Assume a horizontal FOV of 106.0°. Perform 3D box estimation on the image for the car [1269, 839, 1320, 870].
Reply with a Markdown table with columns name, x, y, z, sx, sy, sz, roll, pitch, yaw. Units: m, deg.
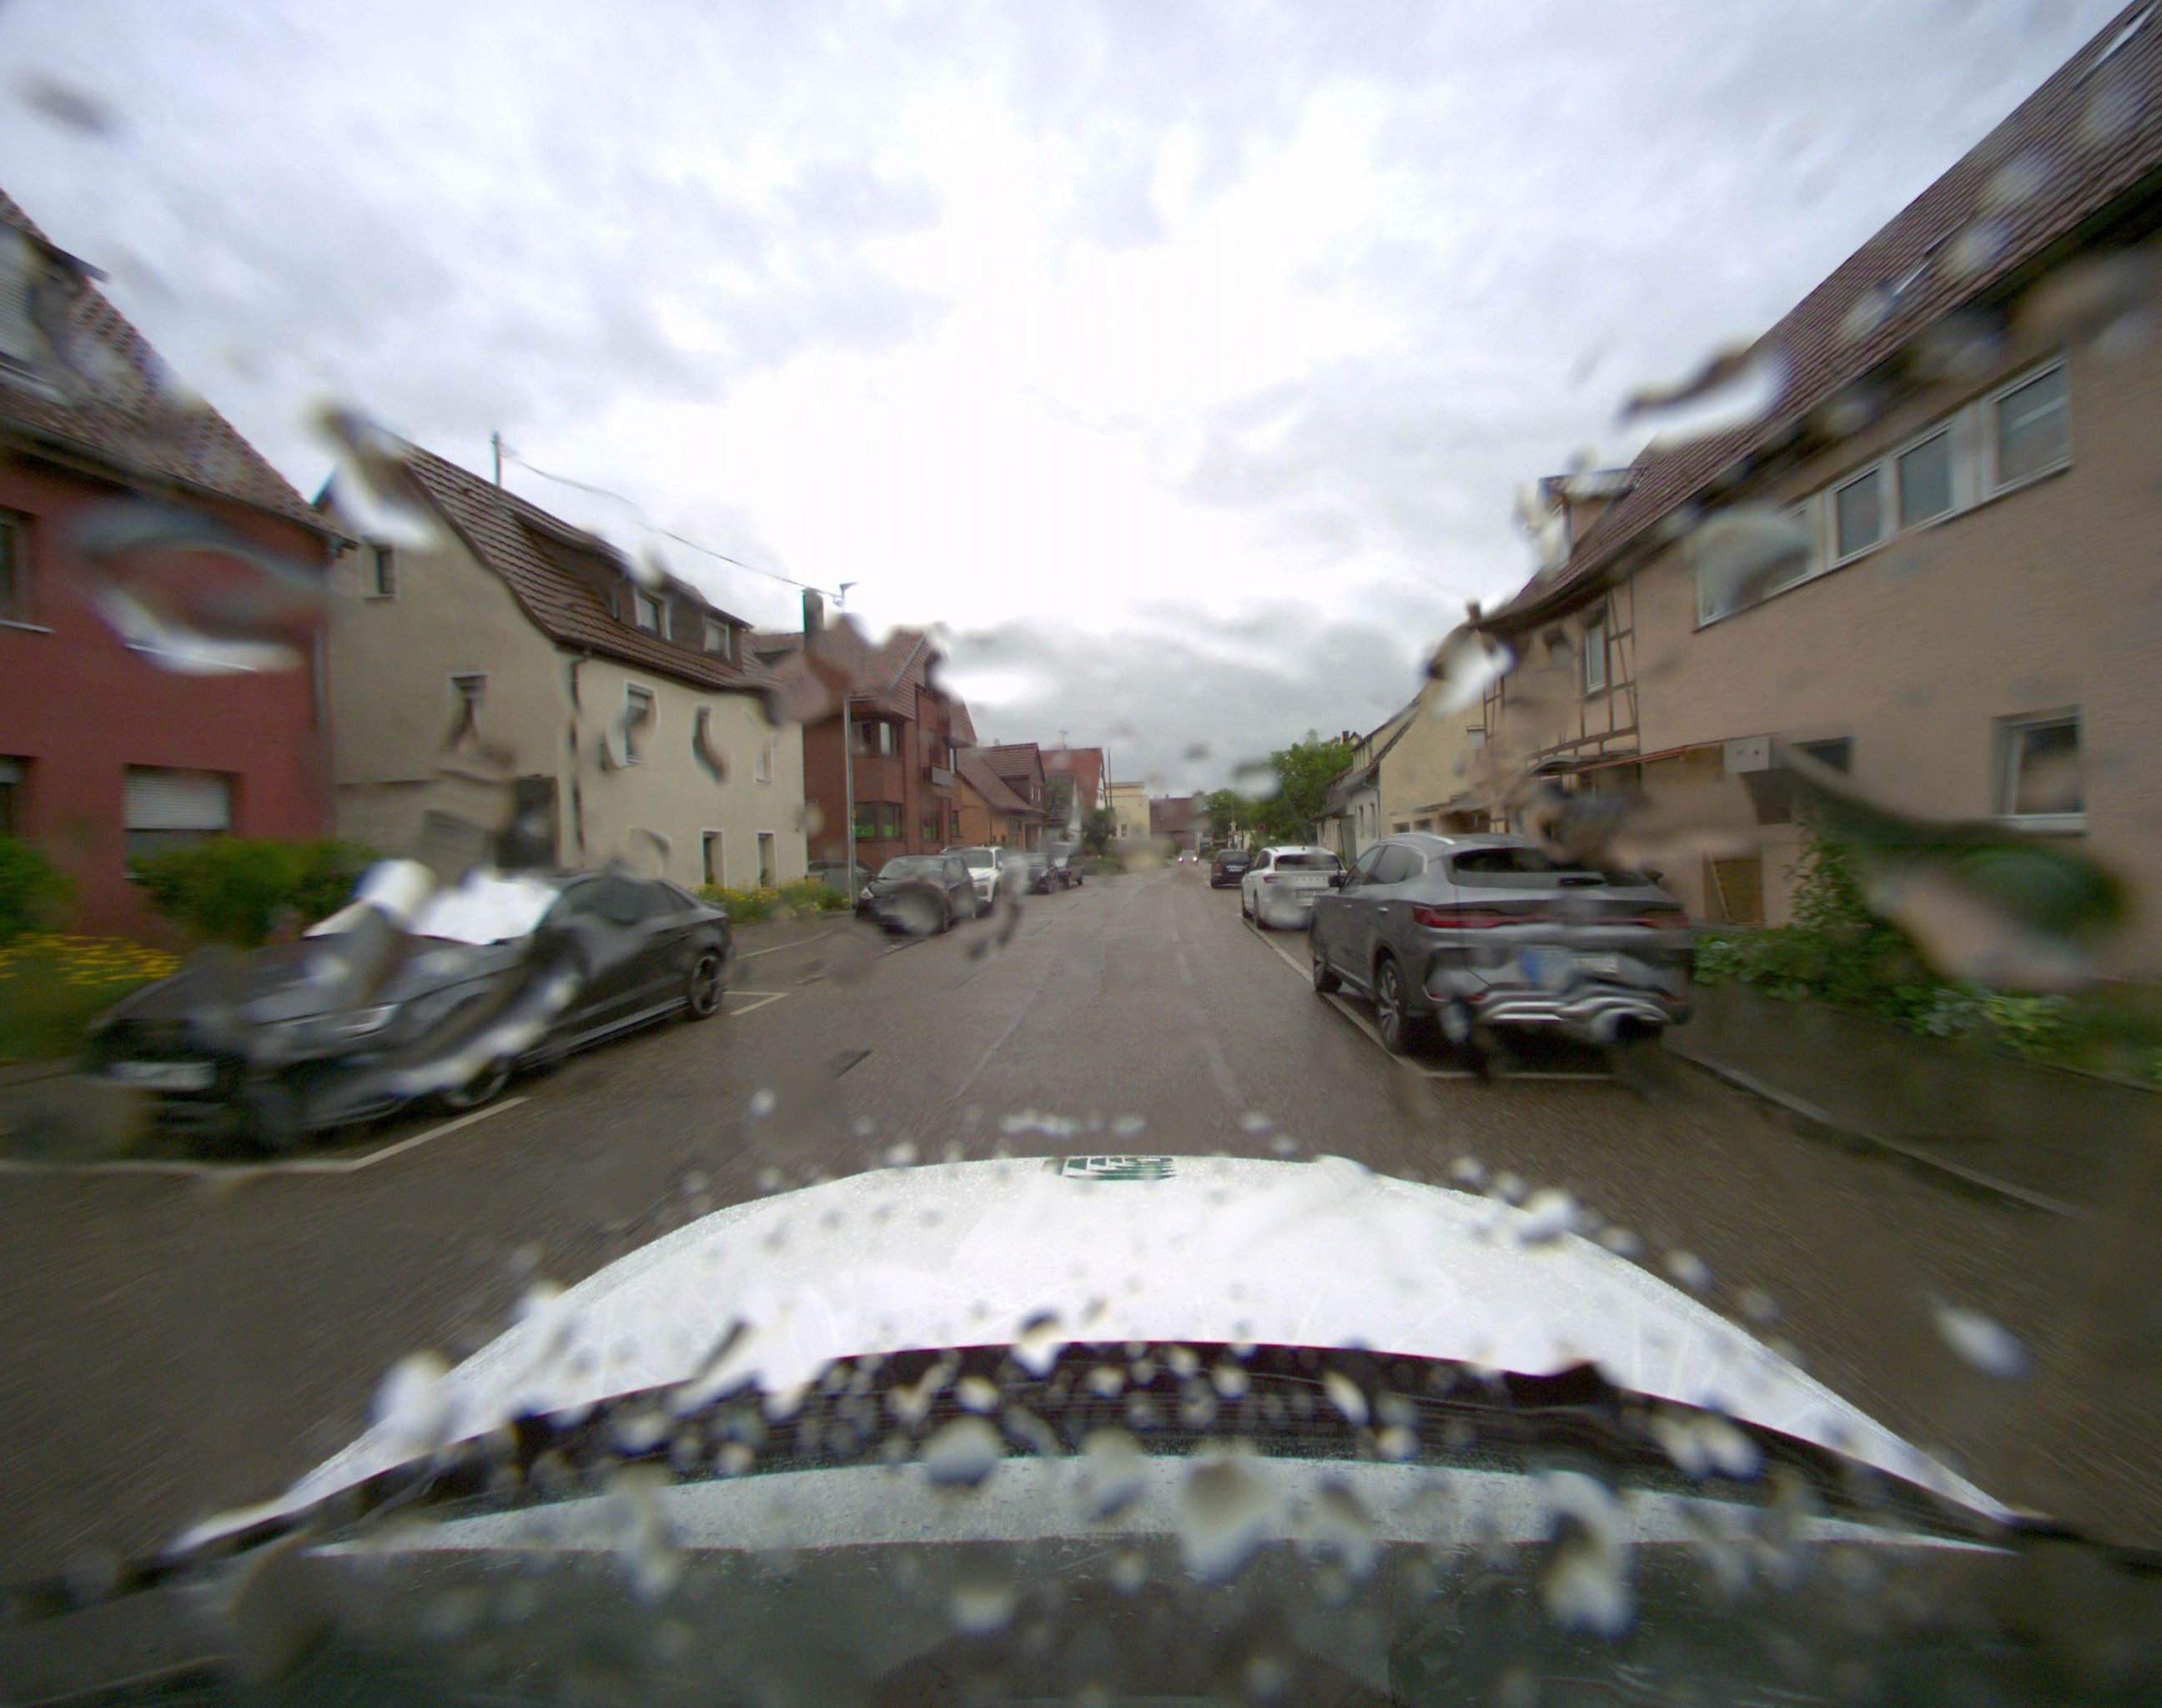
| name | x | y | z | sx | sy | sz | roll | pitch | yaw |
| --- | --- | --- | --- | --- | --- | --- | --- | --- | --- |
| car | 12.156 | 0.016 | 46.269 | 1.742 | 1.393 | 4.025 | -9 | -2 | 28 |

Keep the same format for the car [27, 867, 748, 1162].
| name | x | y | z | sx | sy | sz | roll | pitch | yaw |
| --- | --- | --- | --- | --- | --- | --- | --- | --- | --- |
| car | -4.266 | 0.814 | 6.052 | 1.619 | 1.356 | 4.116 | 0 | 0 | 4 |

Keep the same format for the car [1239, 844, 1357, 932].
| name | x | y | z | sx | sy | sz | roll | pitch | yaw |
| --- | --- | --- | --- | --- | --- | --- | --- | --- | --- |
| car | 4.409 | 0.613 | 17.192 | 1.793 | 1.595 | 4.621 | 0 | 0 | 7 |

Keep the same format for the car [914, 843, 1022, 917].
| name | x | y | z | sx | sy | sz | roll | pitch | yaw |
| --- | --- | --- | --- | --- | --- | --- | --- | --- | --- |
| car | -2.740 | 0.599 | 20.849 | 1.757 | 1.619 | 4.661 | -2 | 0 | 4 |

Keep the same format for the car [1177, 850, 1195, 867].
| name | x | y | z | sx | sy | sz | roll | pitch | yaw |
| --- | --- | --- | --- | --- | --- | --- | --- | --- | --- |
| car | 10.442 | 0.451 | 80.859 | 1.788 | 1.640 | 4.009 | 0 | 0 | 8 |

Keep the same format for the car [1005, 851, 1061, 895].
| name | x | y | z | sx | sy | sz | roll | pitch | yaw |
| --- | --- | --- | --- | --- | --- | --- | --- | --- | --- |
| car | -1.737 | 0.658 | 30.479 | 1.571 | 1.497 | 3.571 | -2 | 0 | 4 |

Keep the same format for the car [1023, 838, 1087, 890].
| name | x | y | z | sx | sy | sz | roll | pitch | yaw |
| --- | --- | --- | --- | --- | --- | --- | --- | --- | --- |
| car | -1.043 | 0.391 | 35.308 | 1.811 | 2.013 | 5.226 | -2 | 0 | 8 |

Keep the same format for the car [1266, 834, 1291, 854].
| name | x | y | z | sx | sy | sz | roll | pitch | yaw |
| --- | --- | --- | --- | --- | --- | --- | --- | --- | --- |
| car | 14.644 | -0.735 | 60.615 | 1.627 | 1.430 | 3.689 | -2 | 0 | 11 |

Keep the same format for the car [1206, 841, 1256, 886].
| name | x | y | z | sx | sy | sz | roll | pitch | yaw |
| --- | --- | --- | --- | --- | --- | --- | --- | --- | --- |
| car | 6.218 | 0.388 | 34.157 | 1.740 | 1.710 | 4.008 | -2 | 0 | 7 |

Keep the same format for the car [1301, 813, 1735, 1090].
| name | x | y | z | sx | sy | sz | roll | pitch | yaw |
| --- | --- | --- | --- | --- | --- | --- | --- | --- | --- |
| car | 3.349 | 0.600 | 7.409 | 1.899 | 1.717 | 4.563 | 0 | 0 | 6 |

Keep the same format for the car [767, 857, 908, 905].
| name | x | y | z | sx | sy | sz | roll | pitch | yaw |
| --- | --- | --- | --- | --- | --- | --- | --- | --- | --- |
| car | -8.191 | 0.895 | 27.490 | 4.144 | 1.403 | 1.795 | -3 | 0 | 12 |

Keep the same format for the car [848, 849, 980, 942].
| name | x | y | z | sx | sy | sz | roll | pitch | yaw |
| --- | --- | --- | --- | --- | --- | --- | --- | --- | --- |
| car | -3.206 | 0.739 | 16.230 | 1.597 | 1.617 | 3.282 | -2 | 0 | 6 |
